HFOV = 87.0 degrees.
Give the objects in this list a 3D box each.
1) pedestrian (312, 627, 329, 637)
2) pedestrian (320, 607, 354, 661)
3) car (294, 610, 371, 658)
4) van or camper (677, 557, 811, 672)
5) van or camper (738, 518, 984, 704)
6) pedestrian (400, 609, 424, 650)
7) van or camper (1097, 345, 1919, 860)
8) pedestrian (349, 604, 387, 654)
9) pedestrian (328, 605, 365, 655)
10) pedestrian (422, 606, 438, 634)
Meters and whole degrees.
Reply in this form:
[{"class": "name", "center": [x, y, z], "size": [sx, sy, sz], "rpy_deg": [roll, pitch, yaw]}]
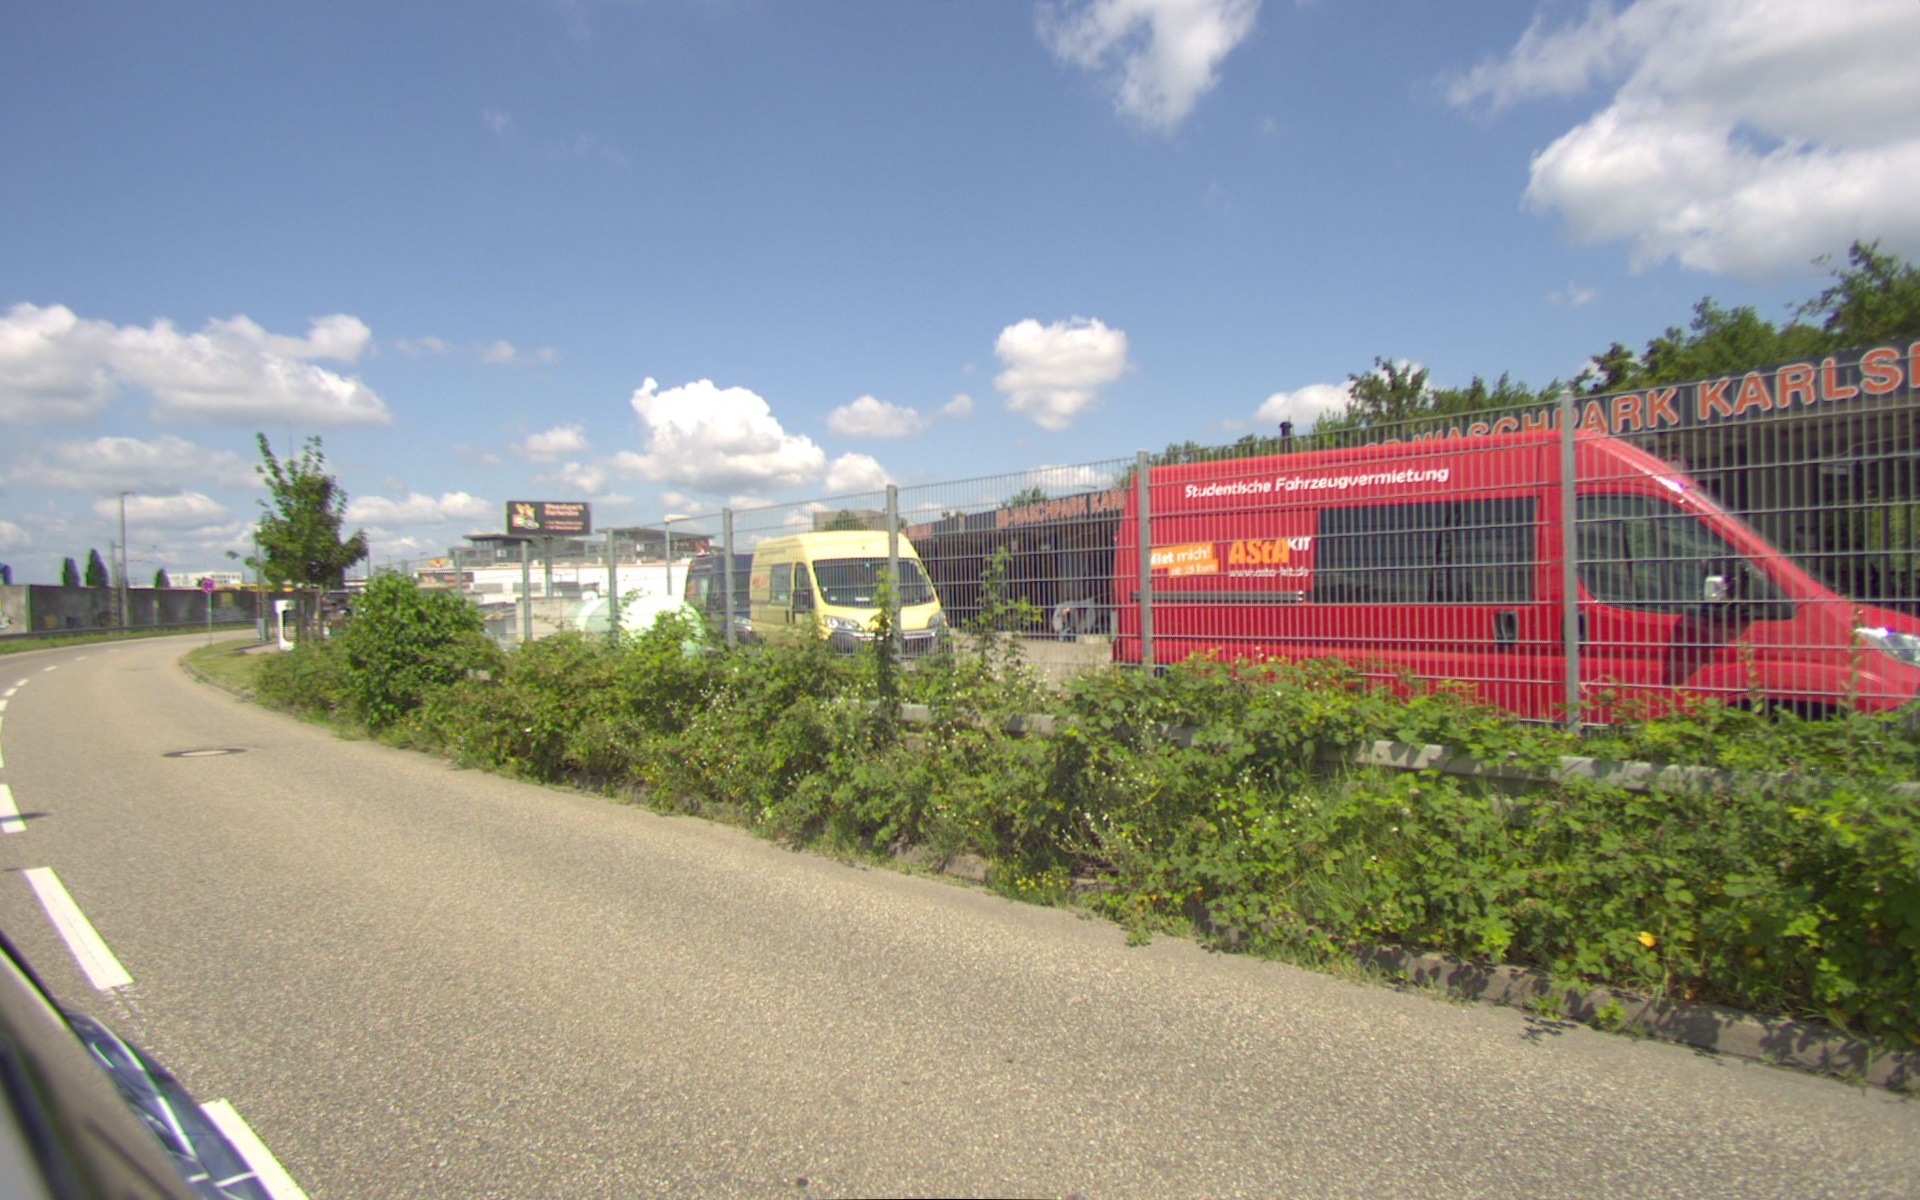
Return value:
[{"class": "pedestrian", "center": [-48.007, 2.413, 75.998], "size": [0.850, 0.766, 0.820], "rpy_deg": [2, -2, -19]}, {"class": "pedestrian", "center": [-18.172, 0.981, 29.526], "size": [0.727, 1.554, 0.818], "rpy_deg": [-1, 0, -24]}, {"class": "car", "center": [-22.498, 1.224, 36.431], "size": [1.903, 1.529, 4.790], "rpy_deg": [-2, -1, -27]}, {"class": "van or camper", "center": [-4.892, 0.270, 22.289], "size": [1.848, 2.233, 5.125], "rpy_deg": [-1, 0, -24]}, {"class": "van or camper", "center": [-1.854, 0.134, 16.324], "size": [2.210, 2.443, 5.678], "rpy_deg": [-1, 0, -24]}, {"class": "pedestrian", "center": [-24.221, 1.294, 44.713], "size": [0.850, 1.765, 0.730], "rpy_deg": [-2, 0, -27]}, {"class": "van or camper", "center": [3.947, 0.079, 7.133], "size": [5.700, 2.533, 2.165], "rpy_deg": [-2, -3, 42]}, {"class": "pedestrian", "center": [-18.920, 0.910, 32.348], "size": [0.749, 1.577, 0.713], "rpy_deg": [-1, 0, 2]}, {"class": "pedestrian", "center": [-19.645, 0.954, 32.407], "size": [0.704, 1.591, 0.721], "rpy_deg": [-1, 0, 2]}, {"class": "pedestrian", "center": [-40.021, 1.507, 76.485], "size": [0.925, 2.028, 0.868], "rpy_deg": [-1, 2, -20]}]
